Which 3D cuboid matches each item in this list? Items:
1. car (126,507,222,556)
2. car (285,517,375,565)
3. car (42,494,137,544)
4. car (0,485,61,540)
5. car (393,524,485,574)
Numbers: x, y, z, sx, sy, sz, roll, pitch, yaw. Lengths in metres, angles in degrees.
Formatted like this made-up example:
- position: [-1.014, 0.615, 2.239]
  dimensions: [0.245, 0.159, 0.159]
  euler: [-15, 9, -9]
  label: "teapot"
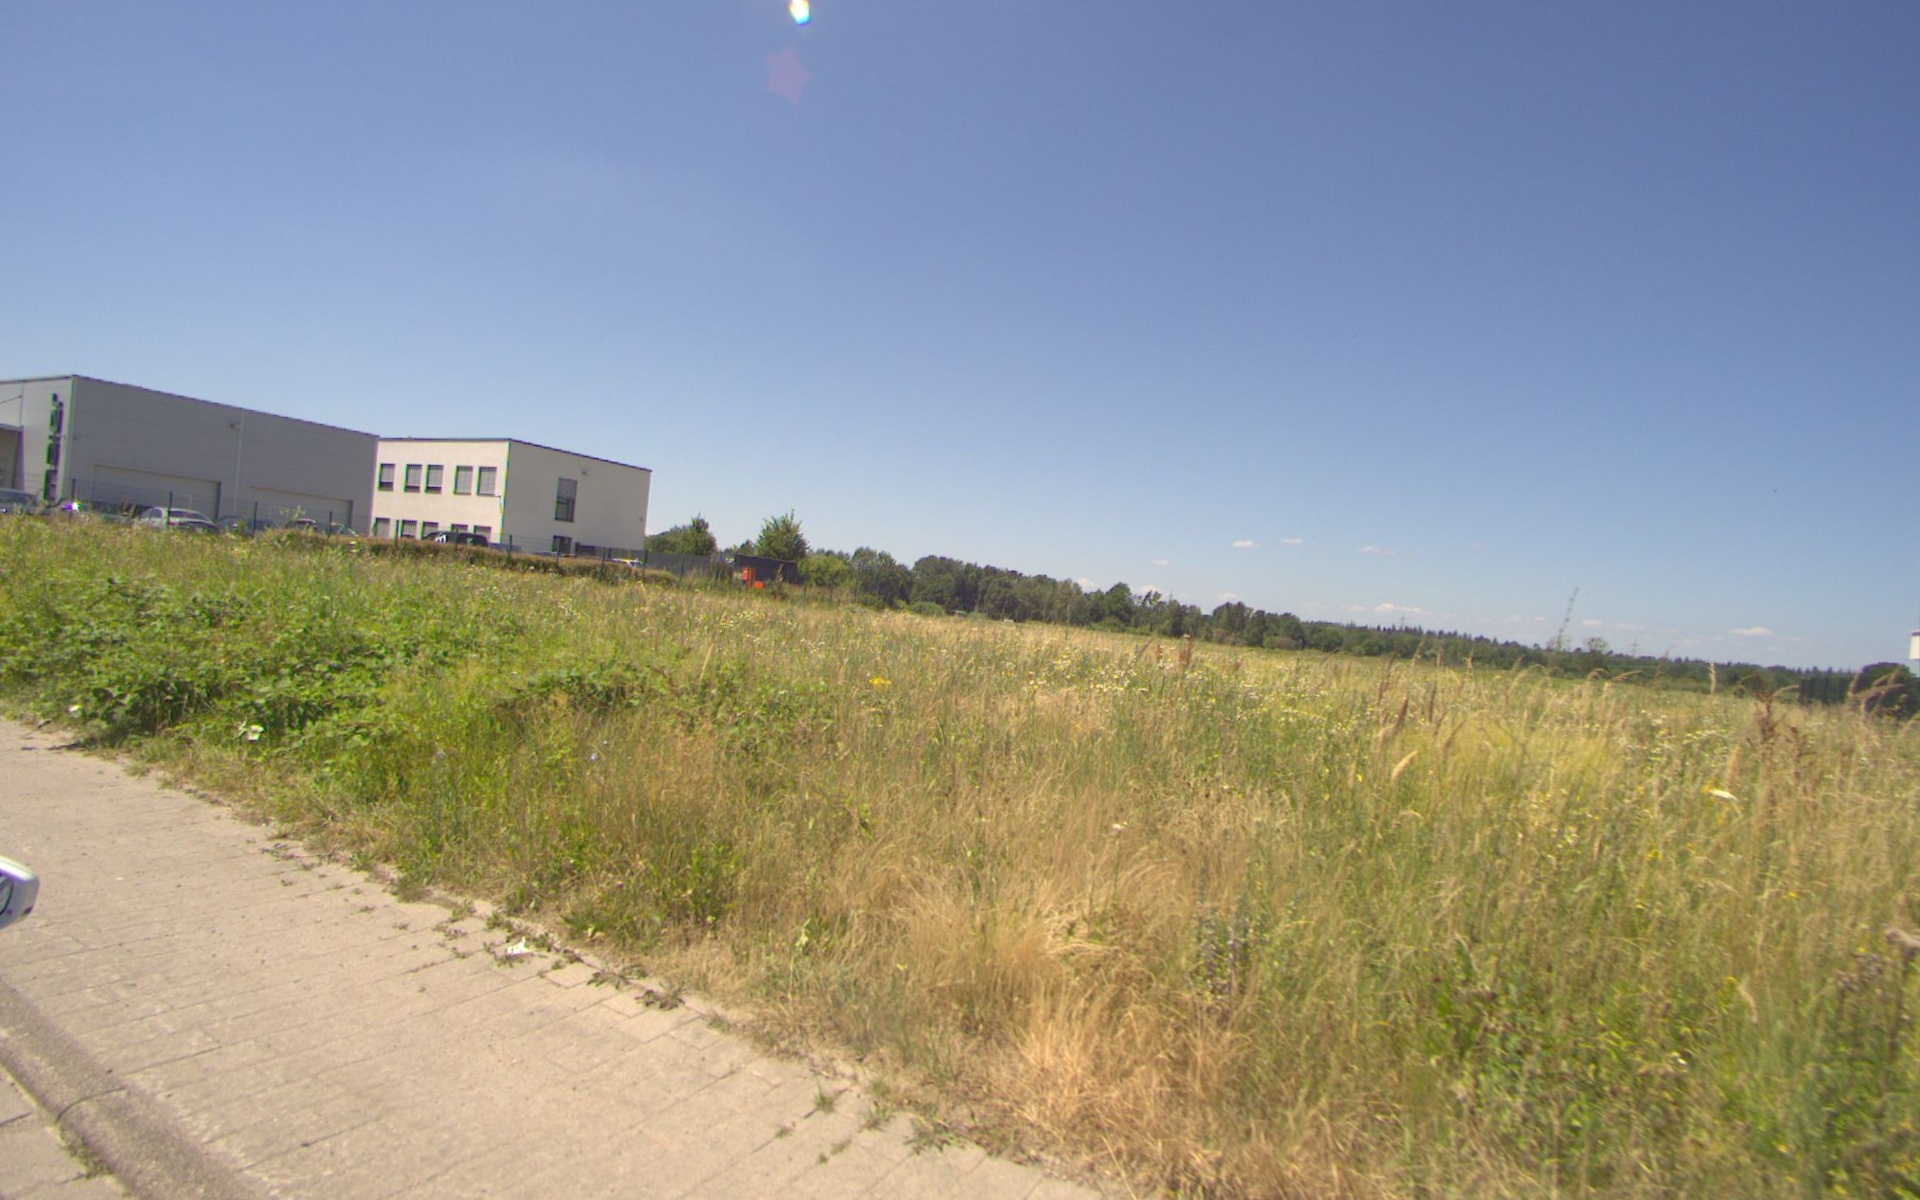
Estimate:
- position: [-28.255, -2.470, 36.148]
  dimensions: [3.481, 1.415, 1.516]
  euler: [6, 1, 31]
  label: "car"
- position: [-25.958, -2.442, 41.433]
  dimensions: [3.721, 1.654, 1.516]
  euler: [6, 1, 31]
  label: "car"
- position: [-29.853, -2.777, 34.479]
  dimensions: [3.276, 1.430, 1.458]
  euler: [6, 1, 31]
  label: "car"
- position: [-30.606, -2.864, 32.387]
  dimensions: [3.276, 1.515, 1.516]
  euler: [6, 1, 31]
  label: "car"
- position: [-23.942, -2.350, 46.202]
  dimensions: [4.057, 1.870, 1.750]
  euler: [6, 1, 31]
  label: "car"
